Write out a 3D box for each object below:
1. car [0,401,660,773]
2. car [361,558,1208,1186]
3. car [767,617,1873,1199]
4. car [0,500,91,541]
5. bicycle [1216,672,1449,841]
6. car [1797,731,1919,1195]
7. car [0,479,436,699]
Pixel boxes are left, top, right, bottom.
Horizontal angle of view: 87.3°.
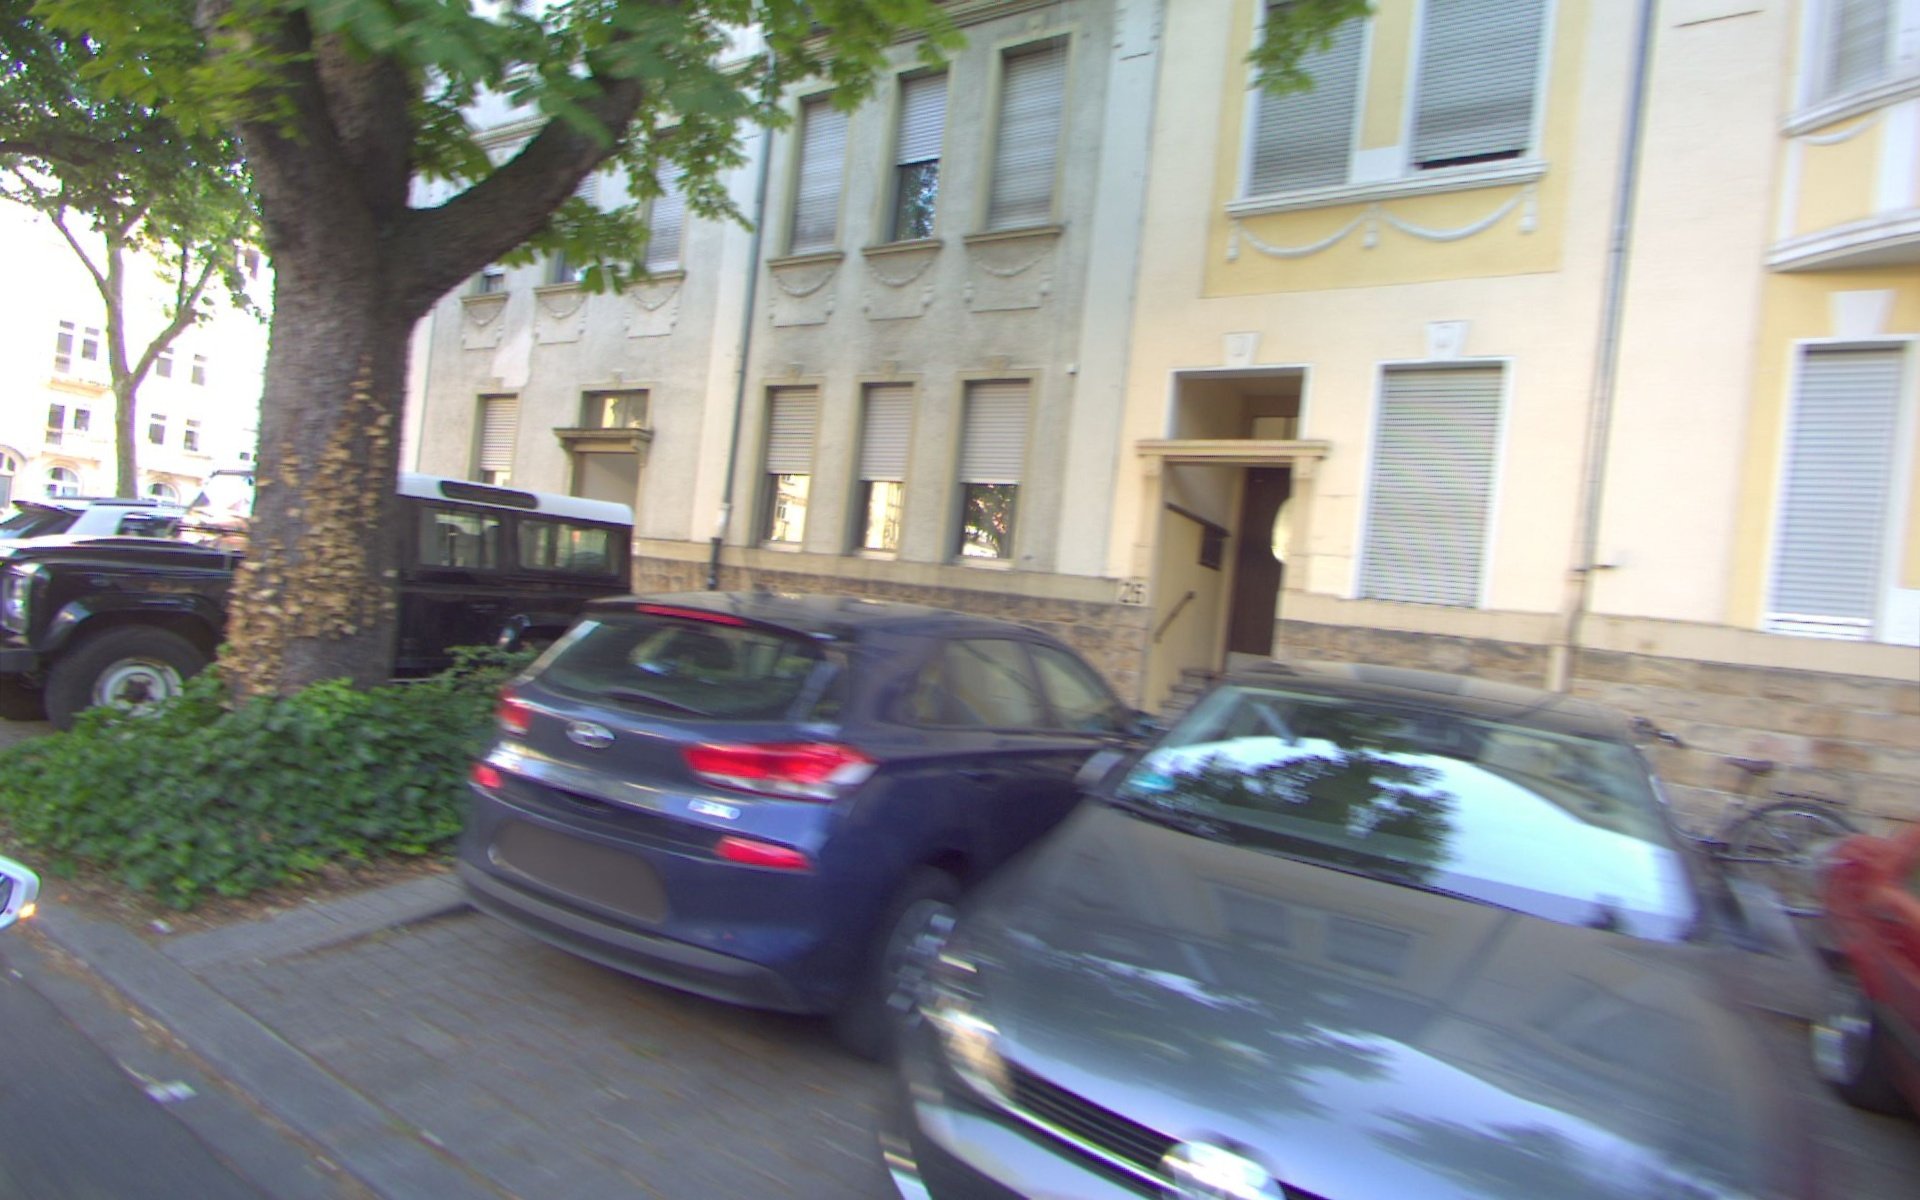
[{"bbox_3d":[-4.705,-0.044,7.725,1.762,1.981,4.495,7,1,30],"label":"car"},{"bbox_3d":[-0.273,0.743,4.481,1.601,1.440,3.753,6,0,30],"label":"car"},{"bbox_3d":[1.337,0.919,3.385,1.601,1.440,4.053,6,0,30],"label":"car"},{"bbox_3d":[-33.056,-2.892,35.435,1.357,1.081,3.369,7,-1,32],"label":"car"},{"bbox_3d":[3.119,1.270,8.502,1.676,1.090,0.500,7,2,33],"label":"bicycle"},{"bbox_3d":[3.535,1.223,2.442,1.532,1.337,3.915,6,0,30],"label":"car"},{"bbox_3d":[-7.018,-0.070,9.245,1.681,1.606,3.488,7,0,27],"label":"car"}]
